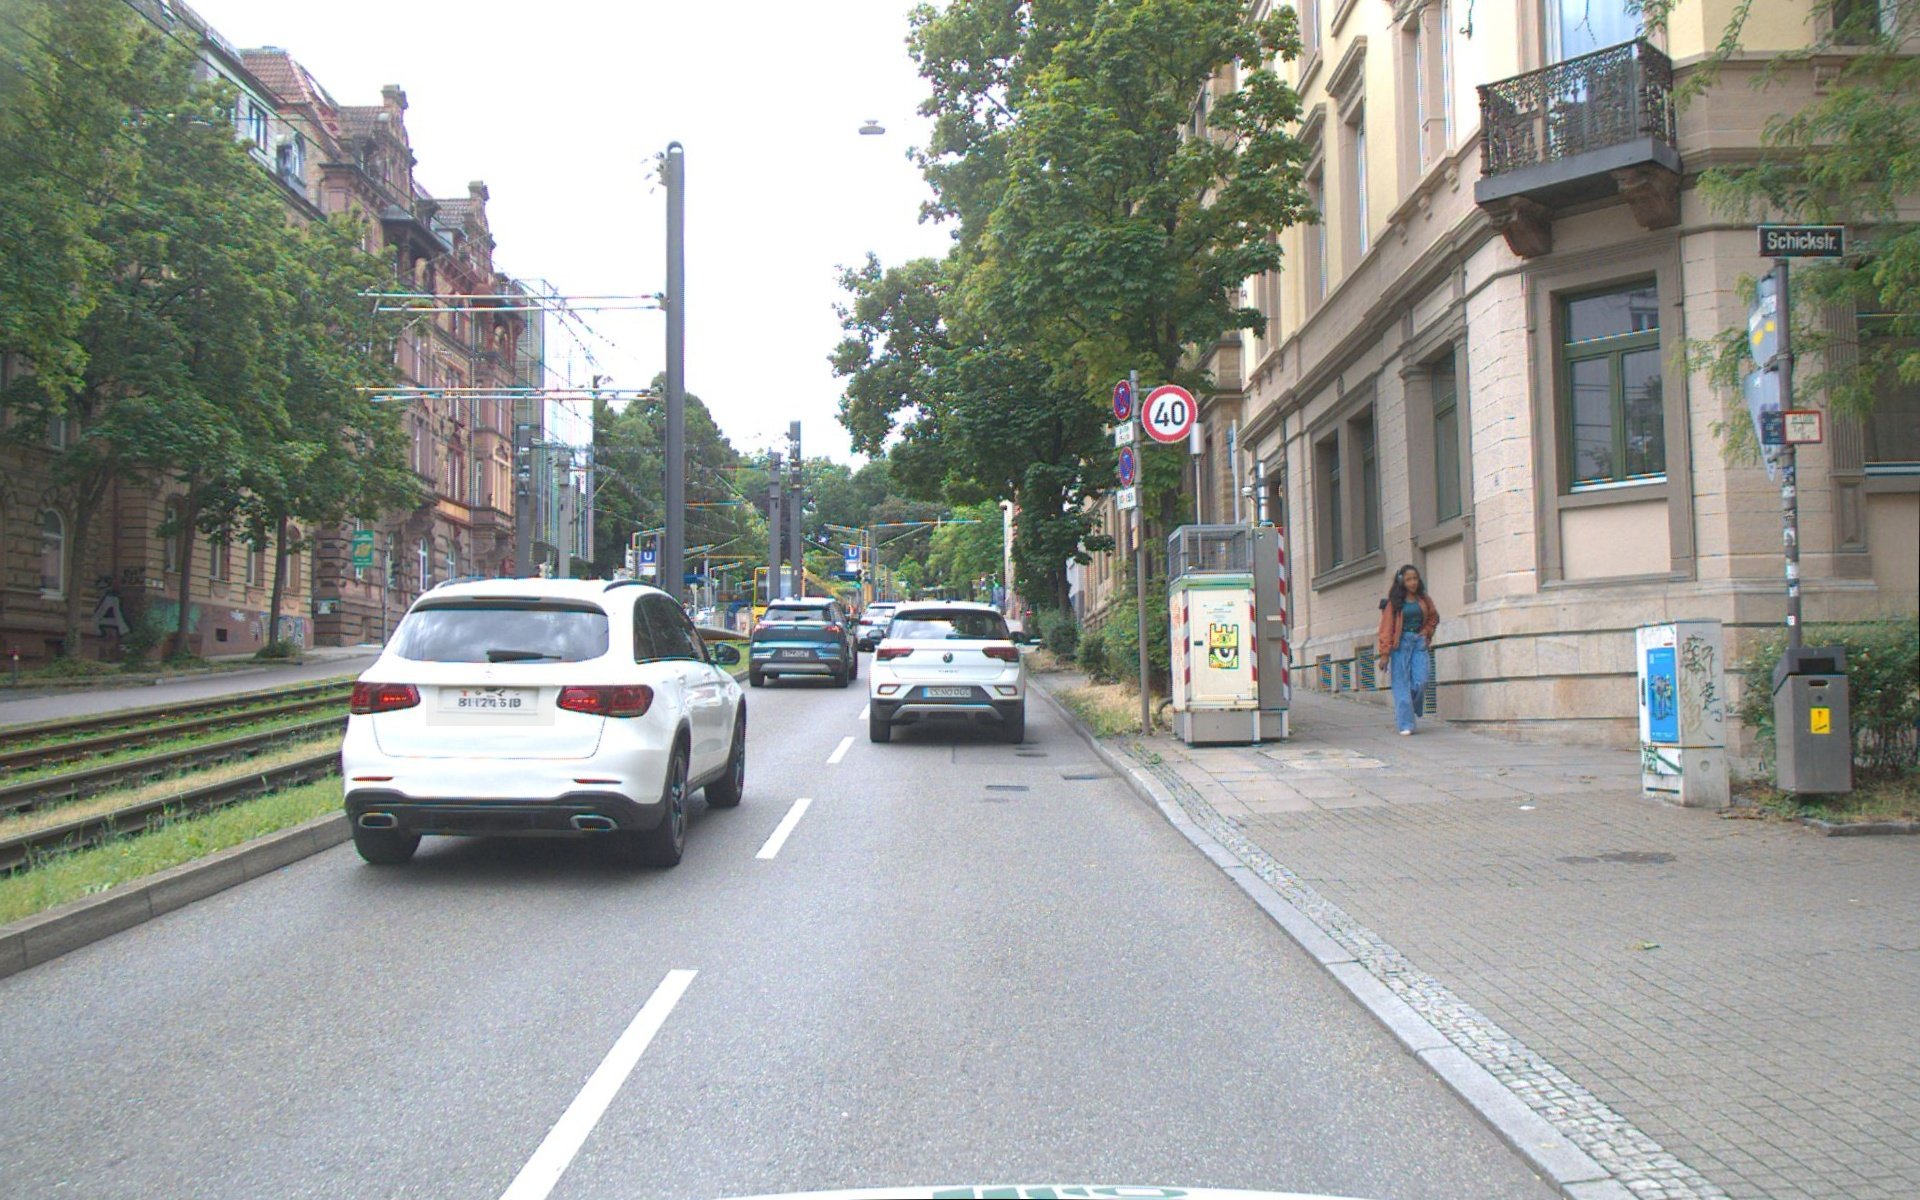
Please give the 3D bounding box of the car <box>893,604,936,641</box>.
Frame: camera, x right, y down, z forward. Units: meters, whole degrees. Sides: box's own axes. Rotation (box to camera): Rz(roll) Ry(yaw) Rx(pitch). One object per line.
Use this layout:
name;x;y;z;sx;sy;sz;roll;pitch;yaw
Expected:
car;-1.986;0.985;73.453;1.798;1.574;4.193;1;0;0

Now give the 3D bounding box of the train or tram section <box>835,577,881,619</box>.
train or tram section;-8.616;-0.117;141.389;2.934;3.407;13.438;-1;0;0

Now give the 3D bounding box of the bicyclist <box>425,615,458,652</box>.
bicyclist;-20.598;1.335;65.729;0.919;1.450;1.188;-1;0;-1

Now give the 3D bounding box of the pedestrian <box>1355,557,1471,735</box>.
pedestrian;4.476;0.439;16.411;0.697;1.691;1.125;-1;0;-8

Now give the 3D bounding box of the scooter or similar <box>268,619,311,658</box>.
scooter or similar;-22.628;1.285;55.836;0.616;1.277;2.214;-1;0;-3

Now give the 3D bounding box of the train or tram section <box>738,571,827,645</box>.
train or tram section;-8.812;0.443;83.850;2.934;3.407;13.438;-1;0;0

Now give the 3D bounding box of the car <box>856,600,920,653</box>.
car;-2.210;0.799;51.402;1.798;1.574;4.193;1;0;0

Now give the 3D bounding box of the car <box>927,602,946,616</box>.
car;-2.628;1.003;184.980;2.026;1.574;4.193;1;0;0

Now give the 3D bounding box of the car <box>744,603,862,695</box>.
car;-2.847;0.865;30.766;1.798;1.574;4.193;1;0;0

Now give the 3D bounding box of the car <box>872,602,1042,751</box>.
car;-0.083;0.838;19.804;1.798;1.574;4.192;1;0;-1

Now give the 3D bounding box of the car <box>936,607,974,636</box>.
car;-0.270;1.195;92.193;2.026;1.574;4.193;1;0;0

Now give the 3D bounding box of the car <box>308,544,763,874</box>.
car;-2.484;0.585;10.943;1.798;1.696;4.670;1;0;0

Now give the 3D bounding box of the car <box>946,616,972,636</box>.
car;-0.104;2.095;133.203;2.026;1.574;4.193;1;0;0

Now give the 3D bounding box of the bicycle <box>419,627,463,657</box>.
bicycle;-20.584;1.667;65.683;0.919;1.119;2.702;-1;0;-1

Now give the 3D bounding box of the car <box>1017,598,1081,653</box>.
car;2.869;0.814;53.969;1.798;1.629;4.193;-2;0;0
